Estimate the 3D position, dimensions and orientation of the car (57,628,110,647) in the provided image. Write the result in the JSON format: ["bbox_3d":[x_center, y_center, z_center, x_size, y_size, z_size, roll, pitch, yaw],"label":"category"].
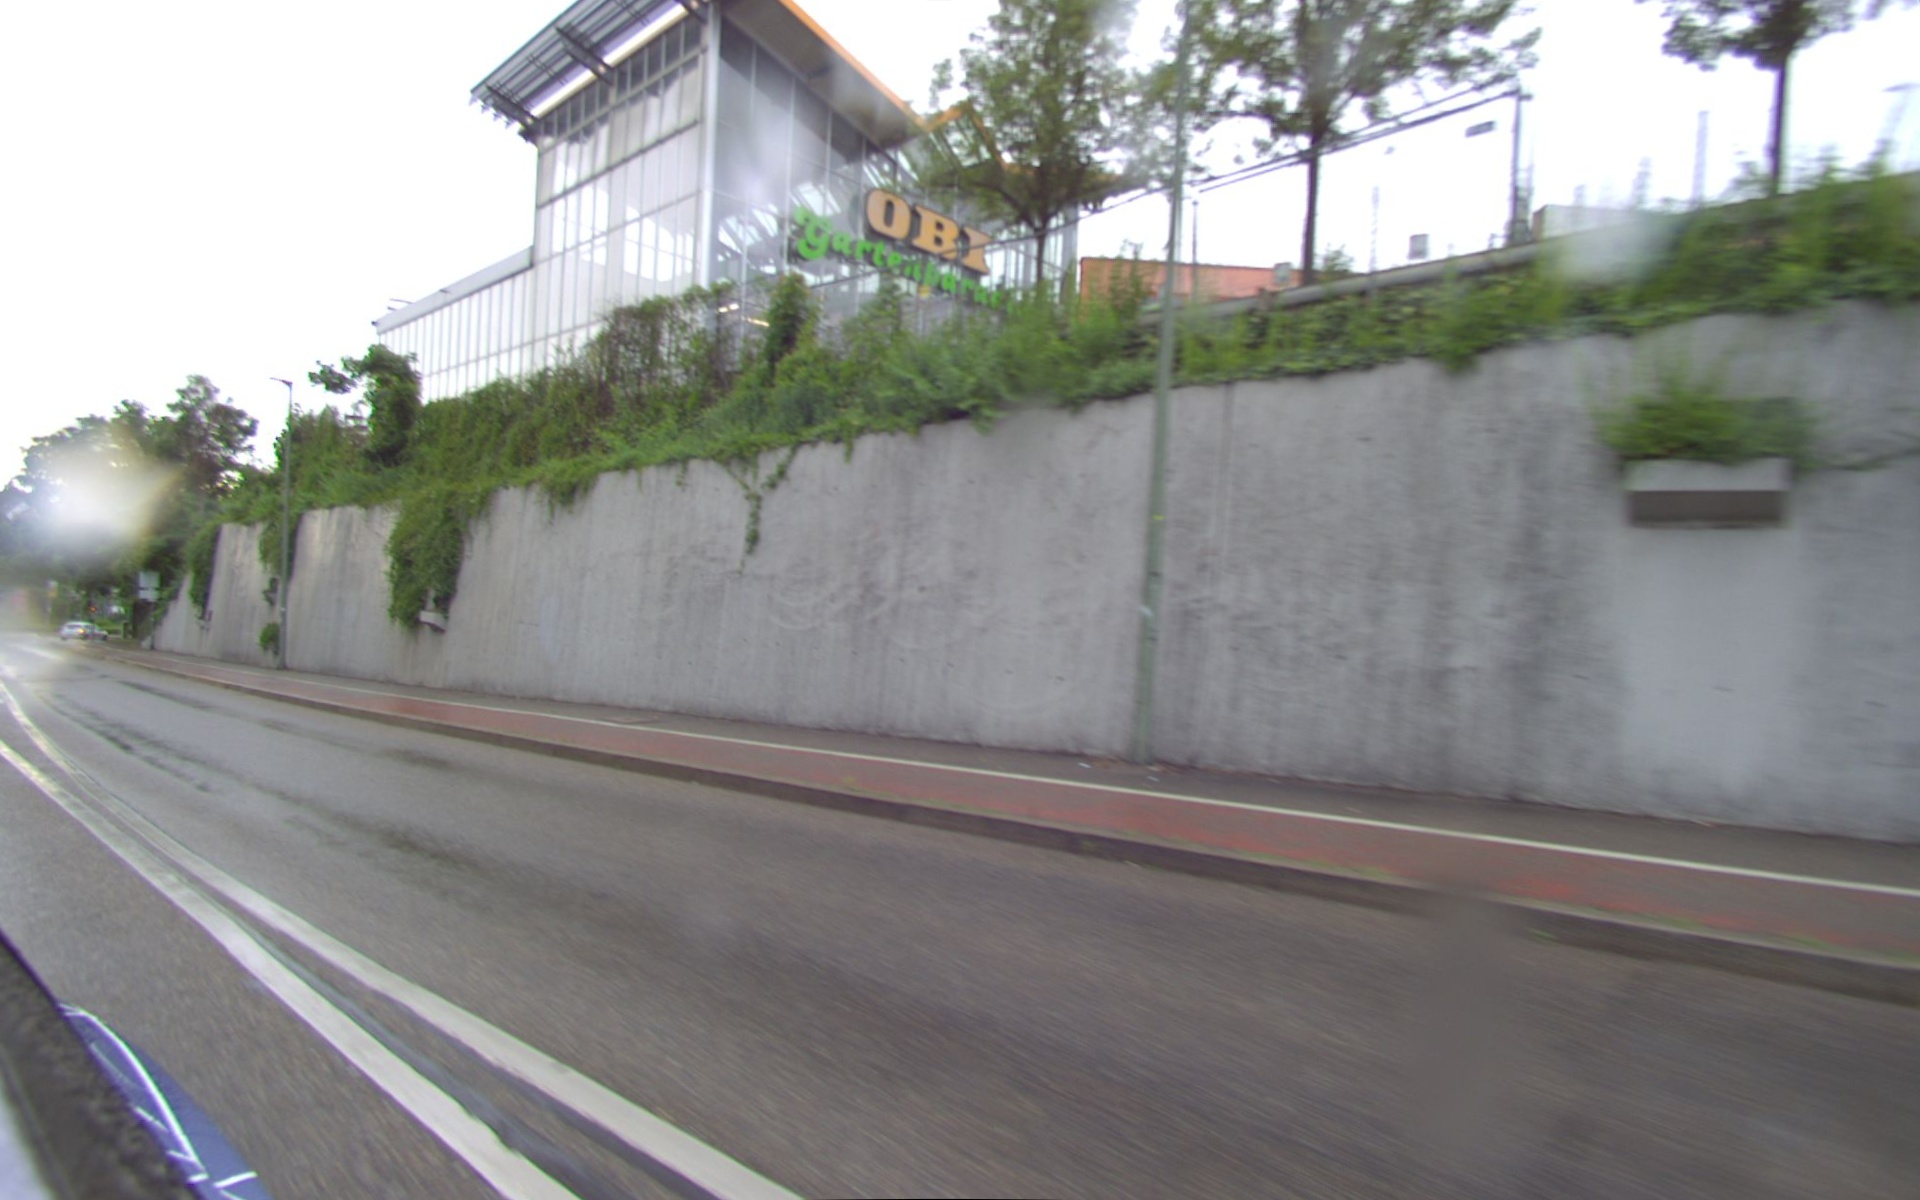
[{"bbox_3d":[-69.367,2.980,80.163,1.493,1.459,3.825,0,-1,-11],"label":"car"}]
